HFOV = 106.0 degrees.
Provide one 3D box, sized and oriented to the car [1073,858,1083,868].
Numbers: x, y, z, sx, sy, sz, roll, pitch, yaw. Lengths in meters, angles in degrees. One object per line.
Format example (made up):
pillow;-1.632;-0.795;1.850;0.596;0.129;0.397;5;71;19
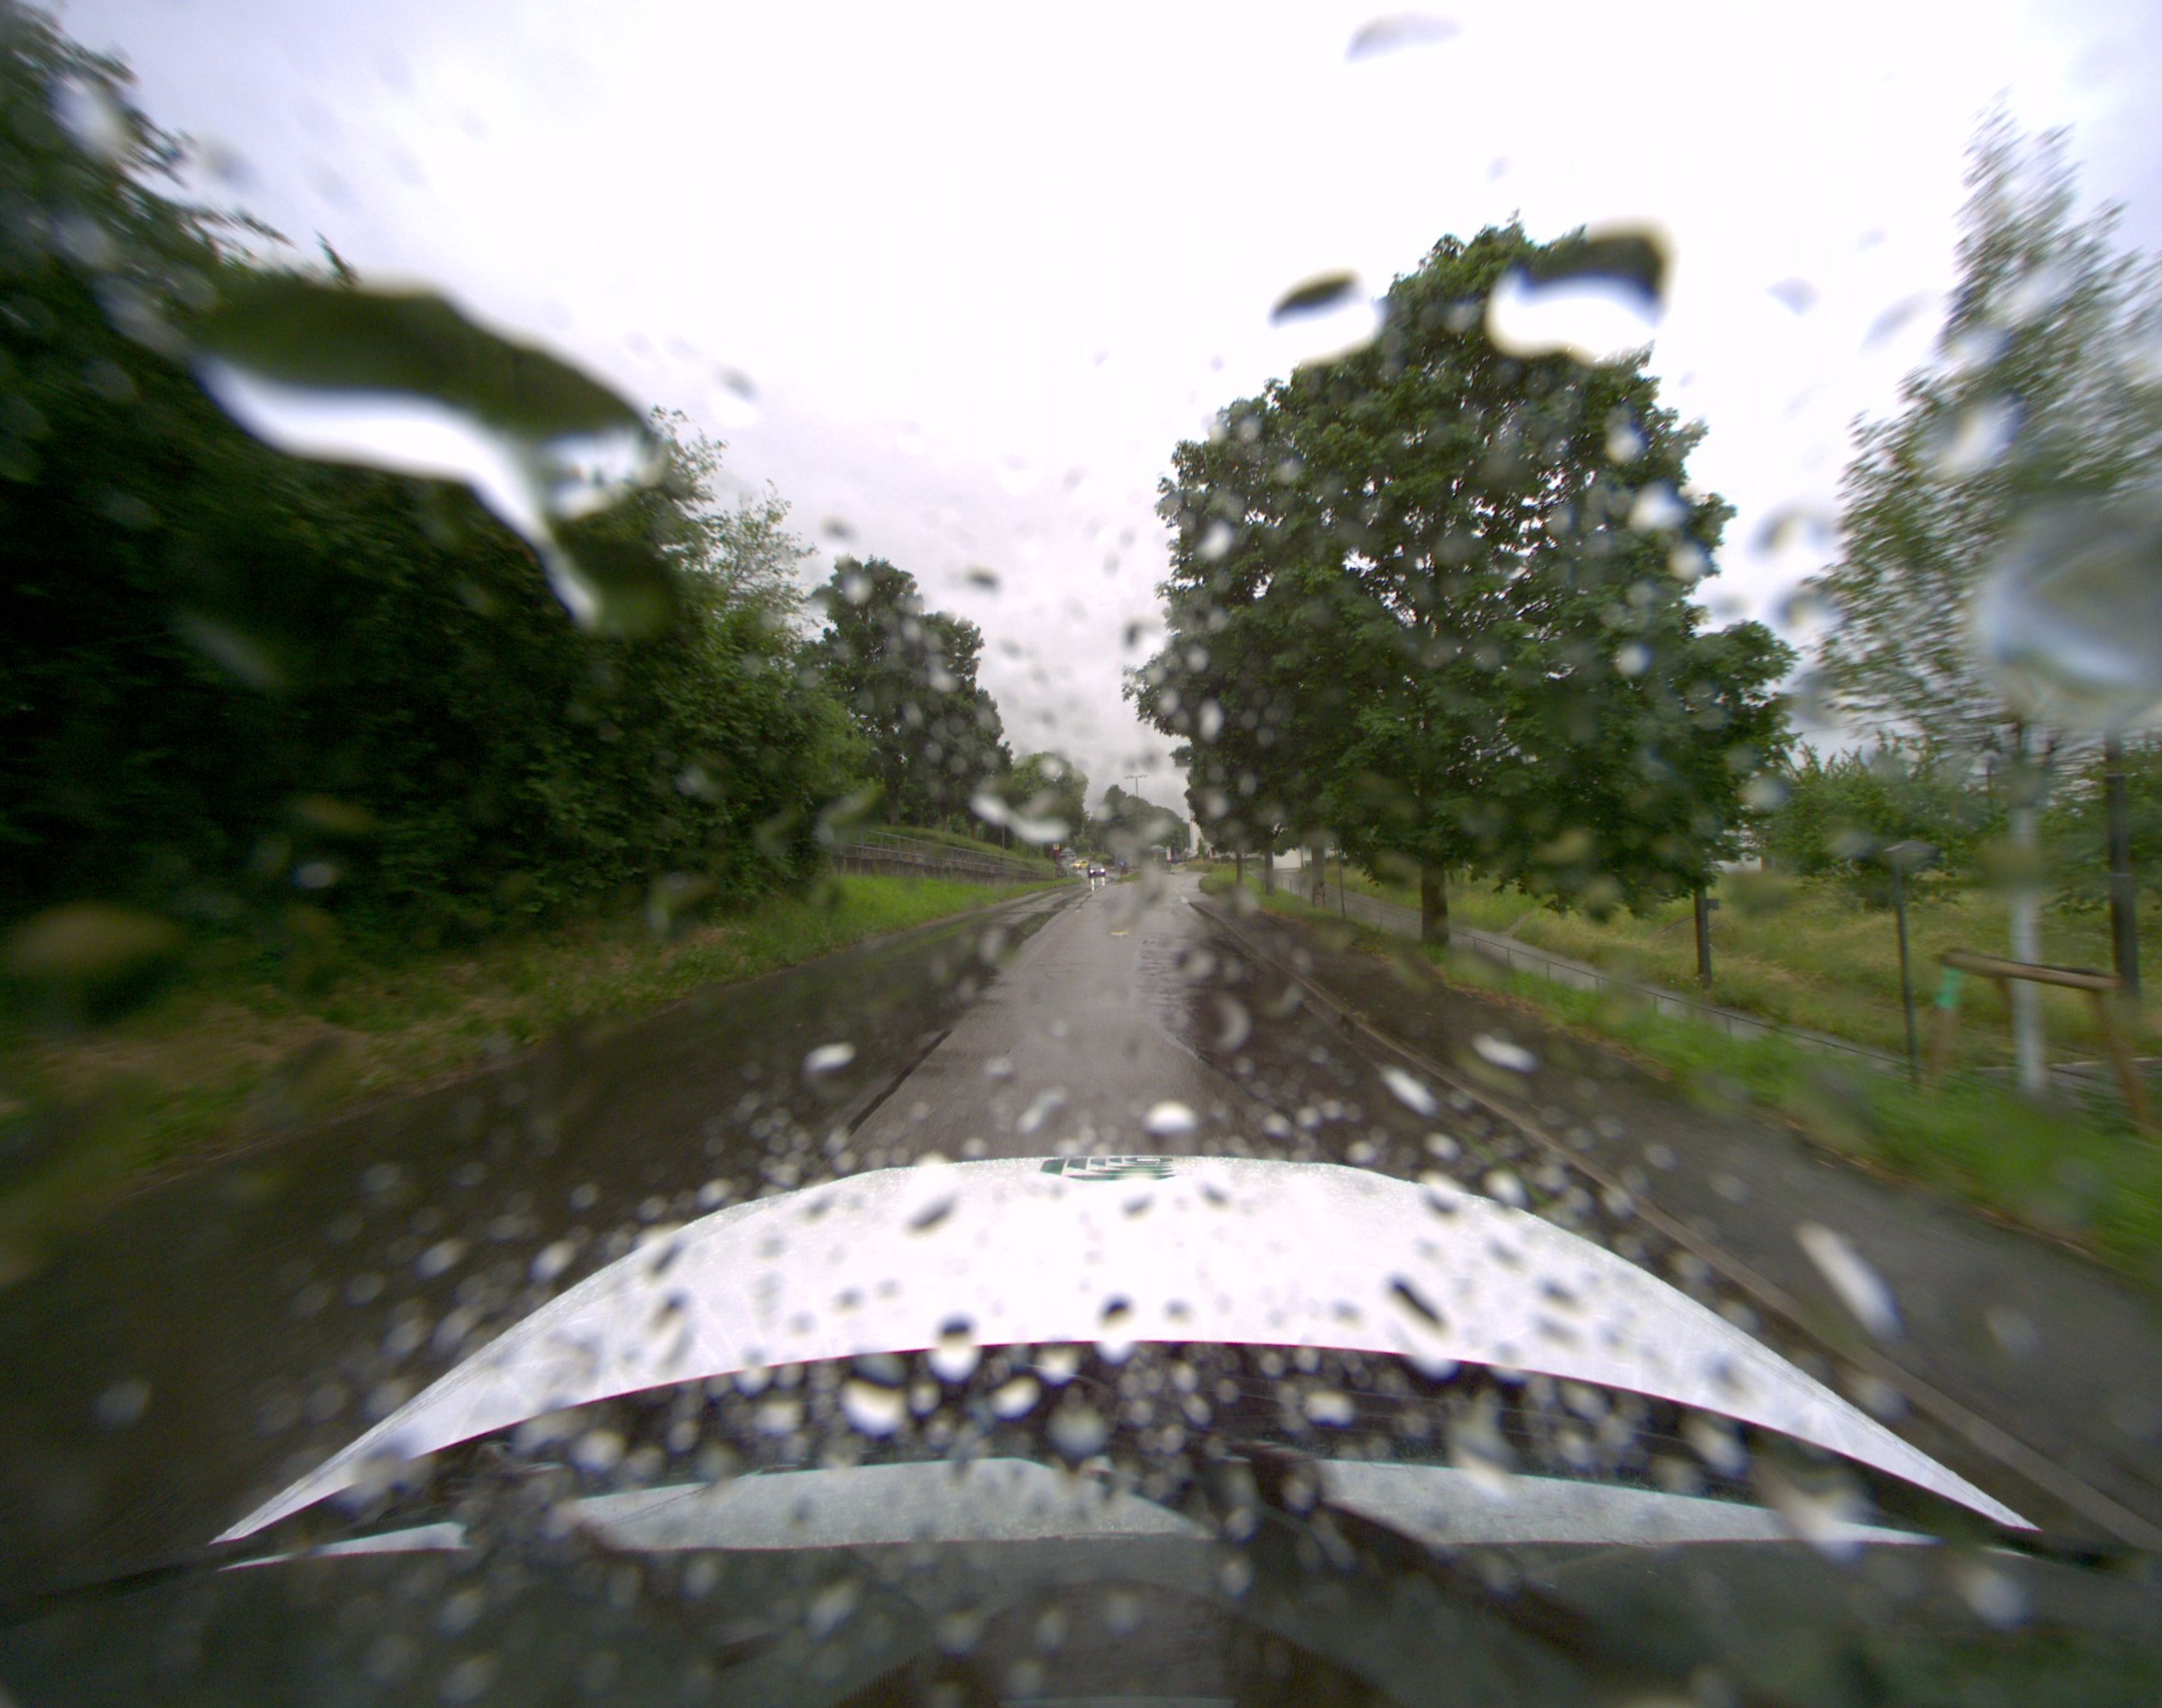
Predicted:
car;-0.500;1.491;133.259;1.568;1.410;3.471;-4;0;-3

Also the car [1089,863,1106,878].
car;1.818;1.819;90.326;1.755;1.503;4.140;-4;-1;-1

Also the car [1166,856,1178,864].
car;18.027;1.188;160.857;1.685;1.438;3.607;-3;1;-4
